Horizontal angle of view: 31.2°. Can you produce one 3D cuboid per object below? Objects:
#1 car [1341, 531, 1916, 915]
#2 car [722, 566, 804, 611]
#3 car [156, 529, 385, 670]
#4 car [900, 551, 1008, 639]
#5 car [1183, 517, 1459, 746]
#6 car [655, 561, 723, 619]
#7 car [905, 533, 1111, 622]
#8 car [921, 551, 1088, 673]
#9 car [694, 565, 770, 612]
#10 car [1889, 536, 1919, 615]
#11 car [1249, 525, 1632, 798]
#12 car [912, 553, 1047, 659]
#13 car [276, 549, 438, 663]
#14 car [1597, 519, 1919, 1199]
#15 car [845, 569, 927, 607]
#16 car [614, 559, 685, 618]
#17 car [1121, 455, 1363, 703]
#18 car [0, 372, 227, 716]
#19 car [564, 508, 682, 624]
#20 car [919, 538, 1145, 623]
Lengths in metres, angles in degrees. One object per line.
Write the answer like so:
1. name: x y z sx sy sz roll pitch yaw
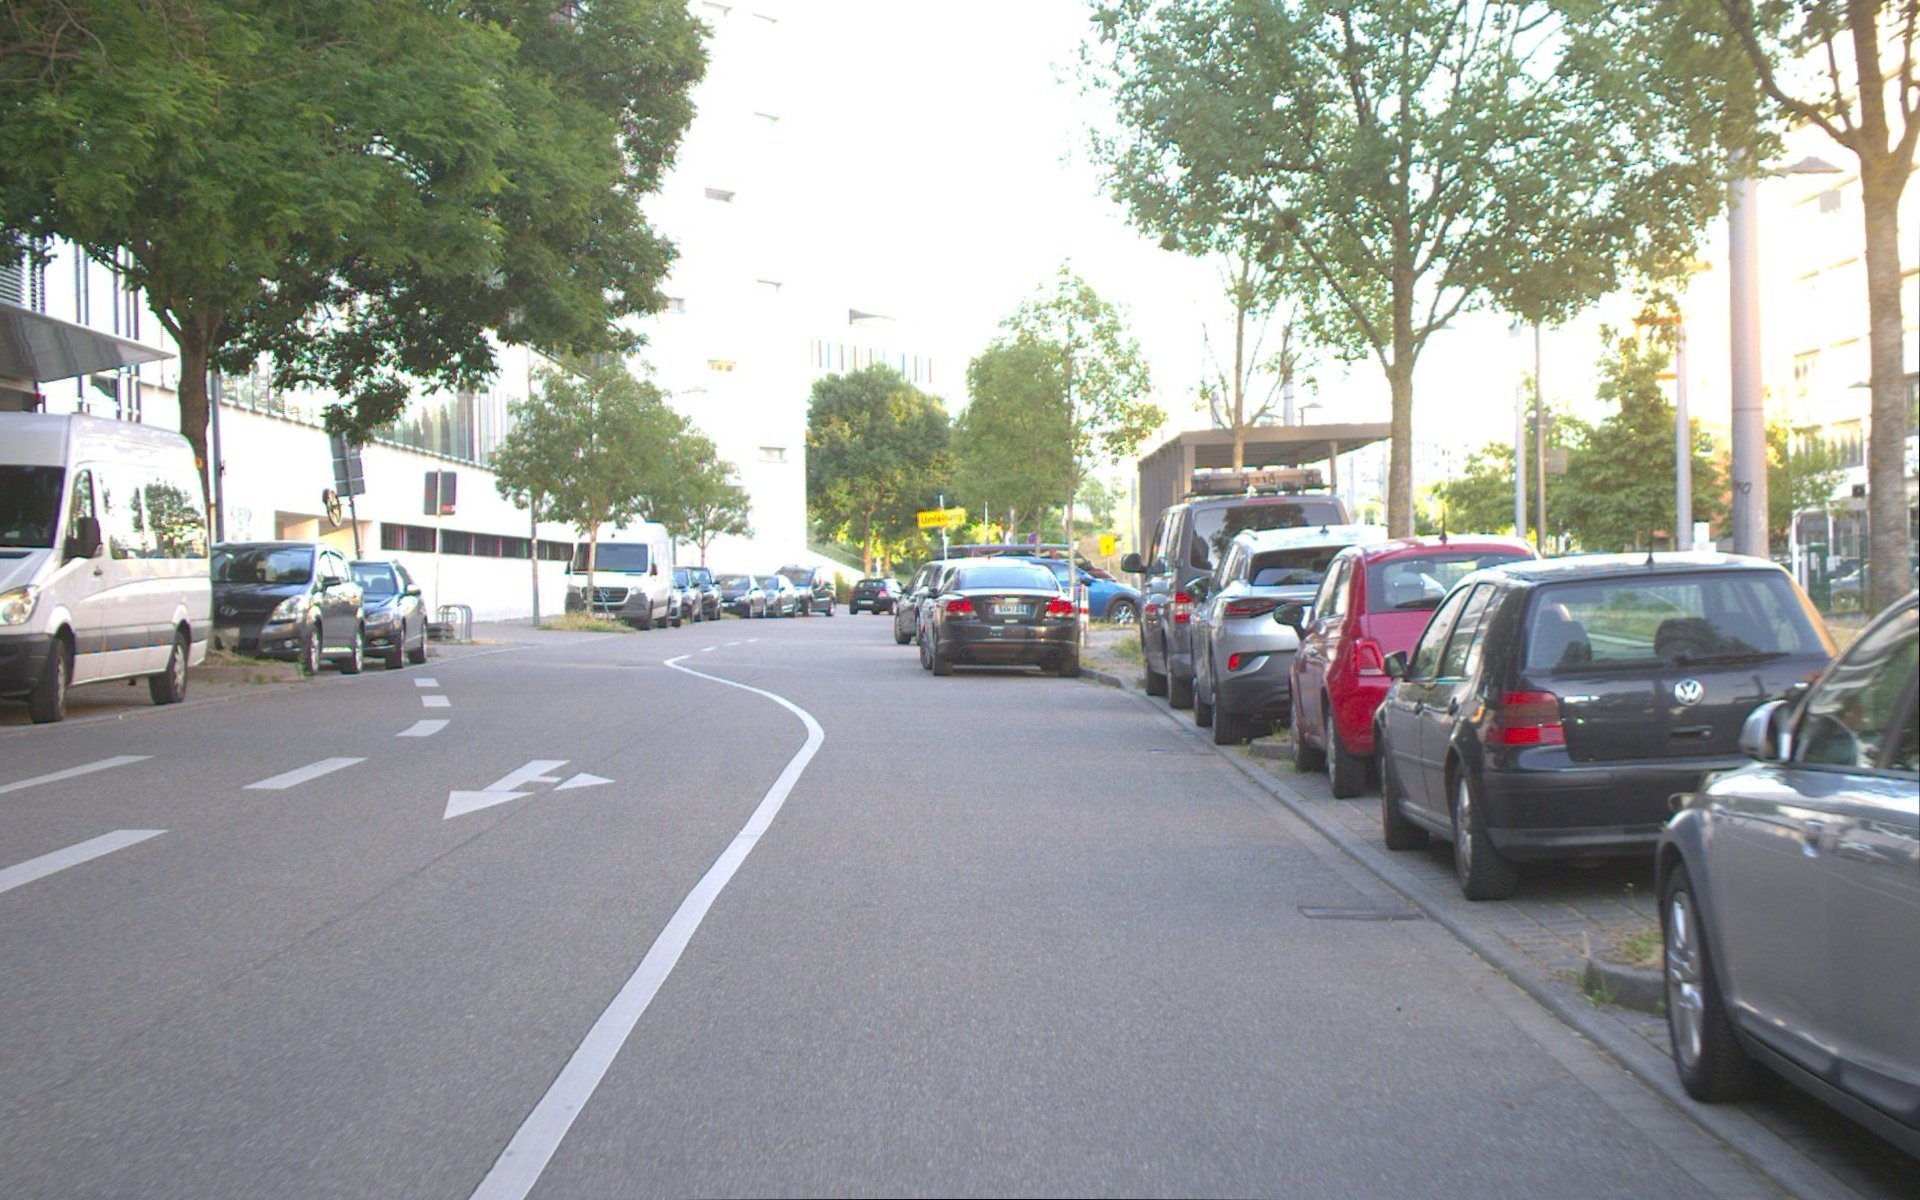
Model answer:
1. car: 2.861 0.467 15.573 1.707 1.446 4.000 -2 1 -1
2. car: -6.719 -0.406 117.676 1.723 1.452 4.692 2 1 10
3. car: -8.066 -0.036 40.554 1.844 1.566 4.267 0 1 0
4. car: -0.132 -0.082 60.645 1.731 1.461 4.000 1 0 -2
5. car: 2.735 0.200 26.917 1.707 1.575 4.479 -2 1 1
6. car: -8.158 -0.321 103.793 1.756 1.648 3.949 1 1 -1
7. car: 1.152 -0.519 81.341 4.588 2.028 1.871 0 1 -34
8. car: 0.505 0.107 43.362 1.787 1.447 4.516 0 1 -3
9. car: -7.433 -0.401 112.325 1.723 1.452 4.270 1 1 6
10. car: 20.612 -0.565 67.831 3.987 1.508 1.824 -2 1 -1
11. car: 2.910 0.330 21.649 1.707 1.488 4.131 -2 1 -1
12. car: 0.244 0.060 49.190 1.676 1.447 4.188 0 1 -3
13. car: -8.043 0.052 46.177 1.714 1.447 4.400 0 1 -4
14. car: 2.727 0.550 7.433 1.796 1.491 4.780 -4 1 1
15. car: -2.847 -0.470 133.196 1.945 1.378 4.396 2 1 16
16. car: -8.020 -0.321 89.054 1.755 1.435 3.902 1 1 -5
17. car: 2.664 -0.213 33.522 1.804 2.169 4.736 -2 1 -1
18. car: -8.203 -0.472 30.030 2.100 2.654 6.951 0 1 0
19. car: -8.042 -0.837 82.698 1.958 2.608 6.892 1 1 1
20. car: 1.412 -0.389 66.992 3.988 1.515 1.927 -2 0 -35
